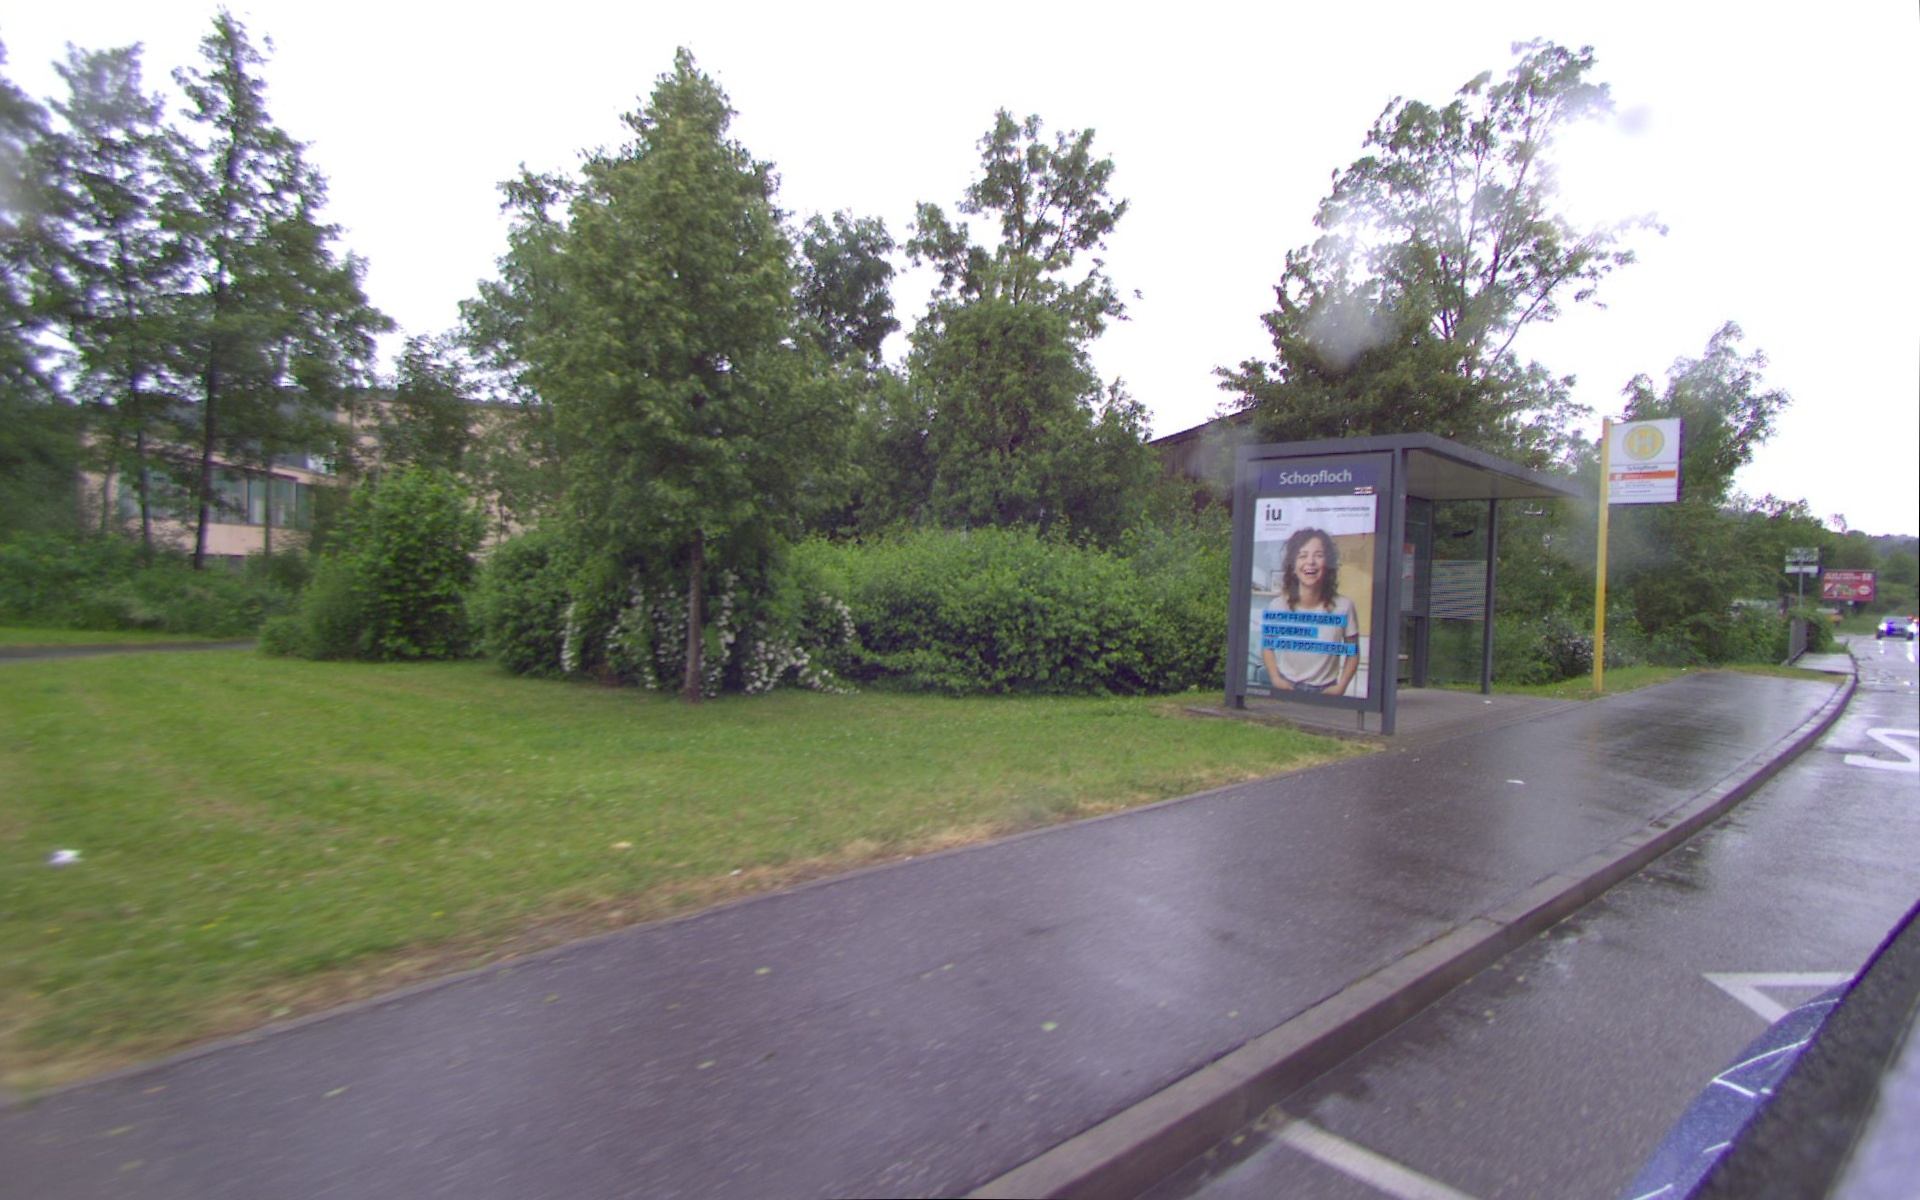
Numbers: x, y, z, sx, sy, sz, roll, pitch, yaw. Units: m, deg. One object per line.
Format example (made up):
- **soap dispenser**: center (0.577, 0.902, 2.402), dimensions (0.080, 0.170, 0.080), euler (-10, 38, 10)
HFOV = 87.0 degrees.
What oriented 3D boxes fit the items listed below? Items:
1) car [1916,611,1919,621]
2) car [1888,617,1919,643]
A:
- **car**: center (149.115, 2.527, 156.503), dimensions (1.831, 1.542, 3.935), euler (3, 1, 45)
- **car**: center (61.484, 1.939, 65.147), dimensions (4.045, 1.508, 1.856), euler (1, 1, -38)
